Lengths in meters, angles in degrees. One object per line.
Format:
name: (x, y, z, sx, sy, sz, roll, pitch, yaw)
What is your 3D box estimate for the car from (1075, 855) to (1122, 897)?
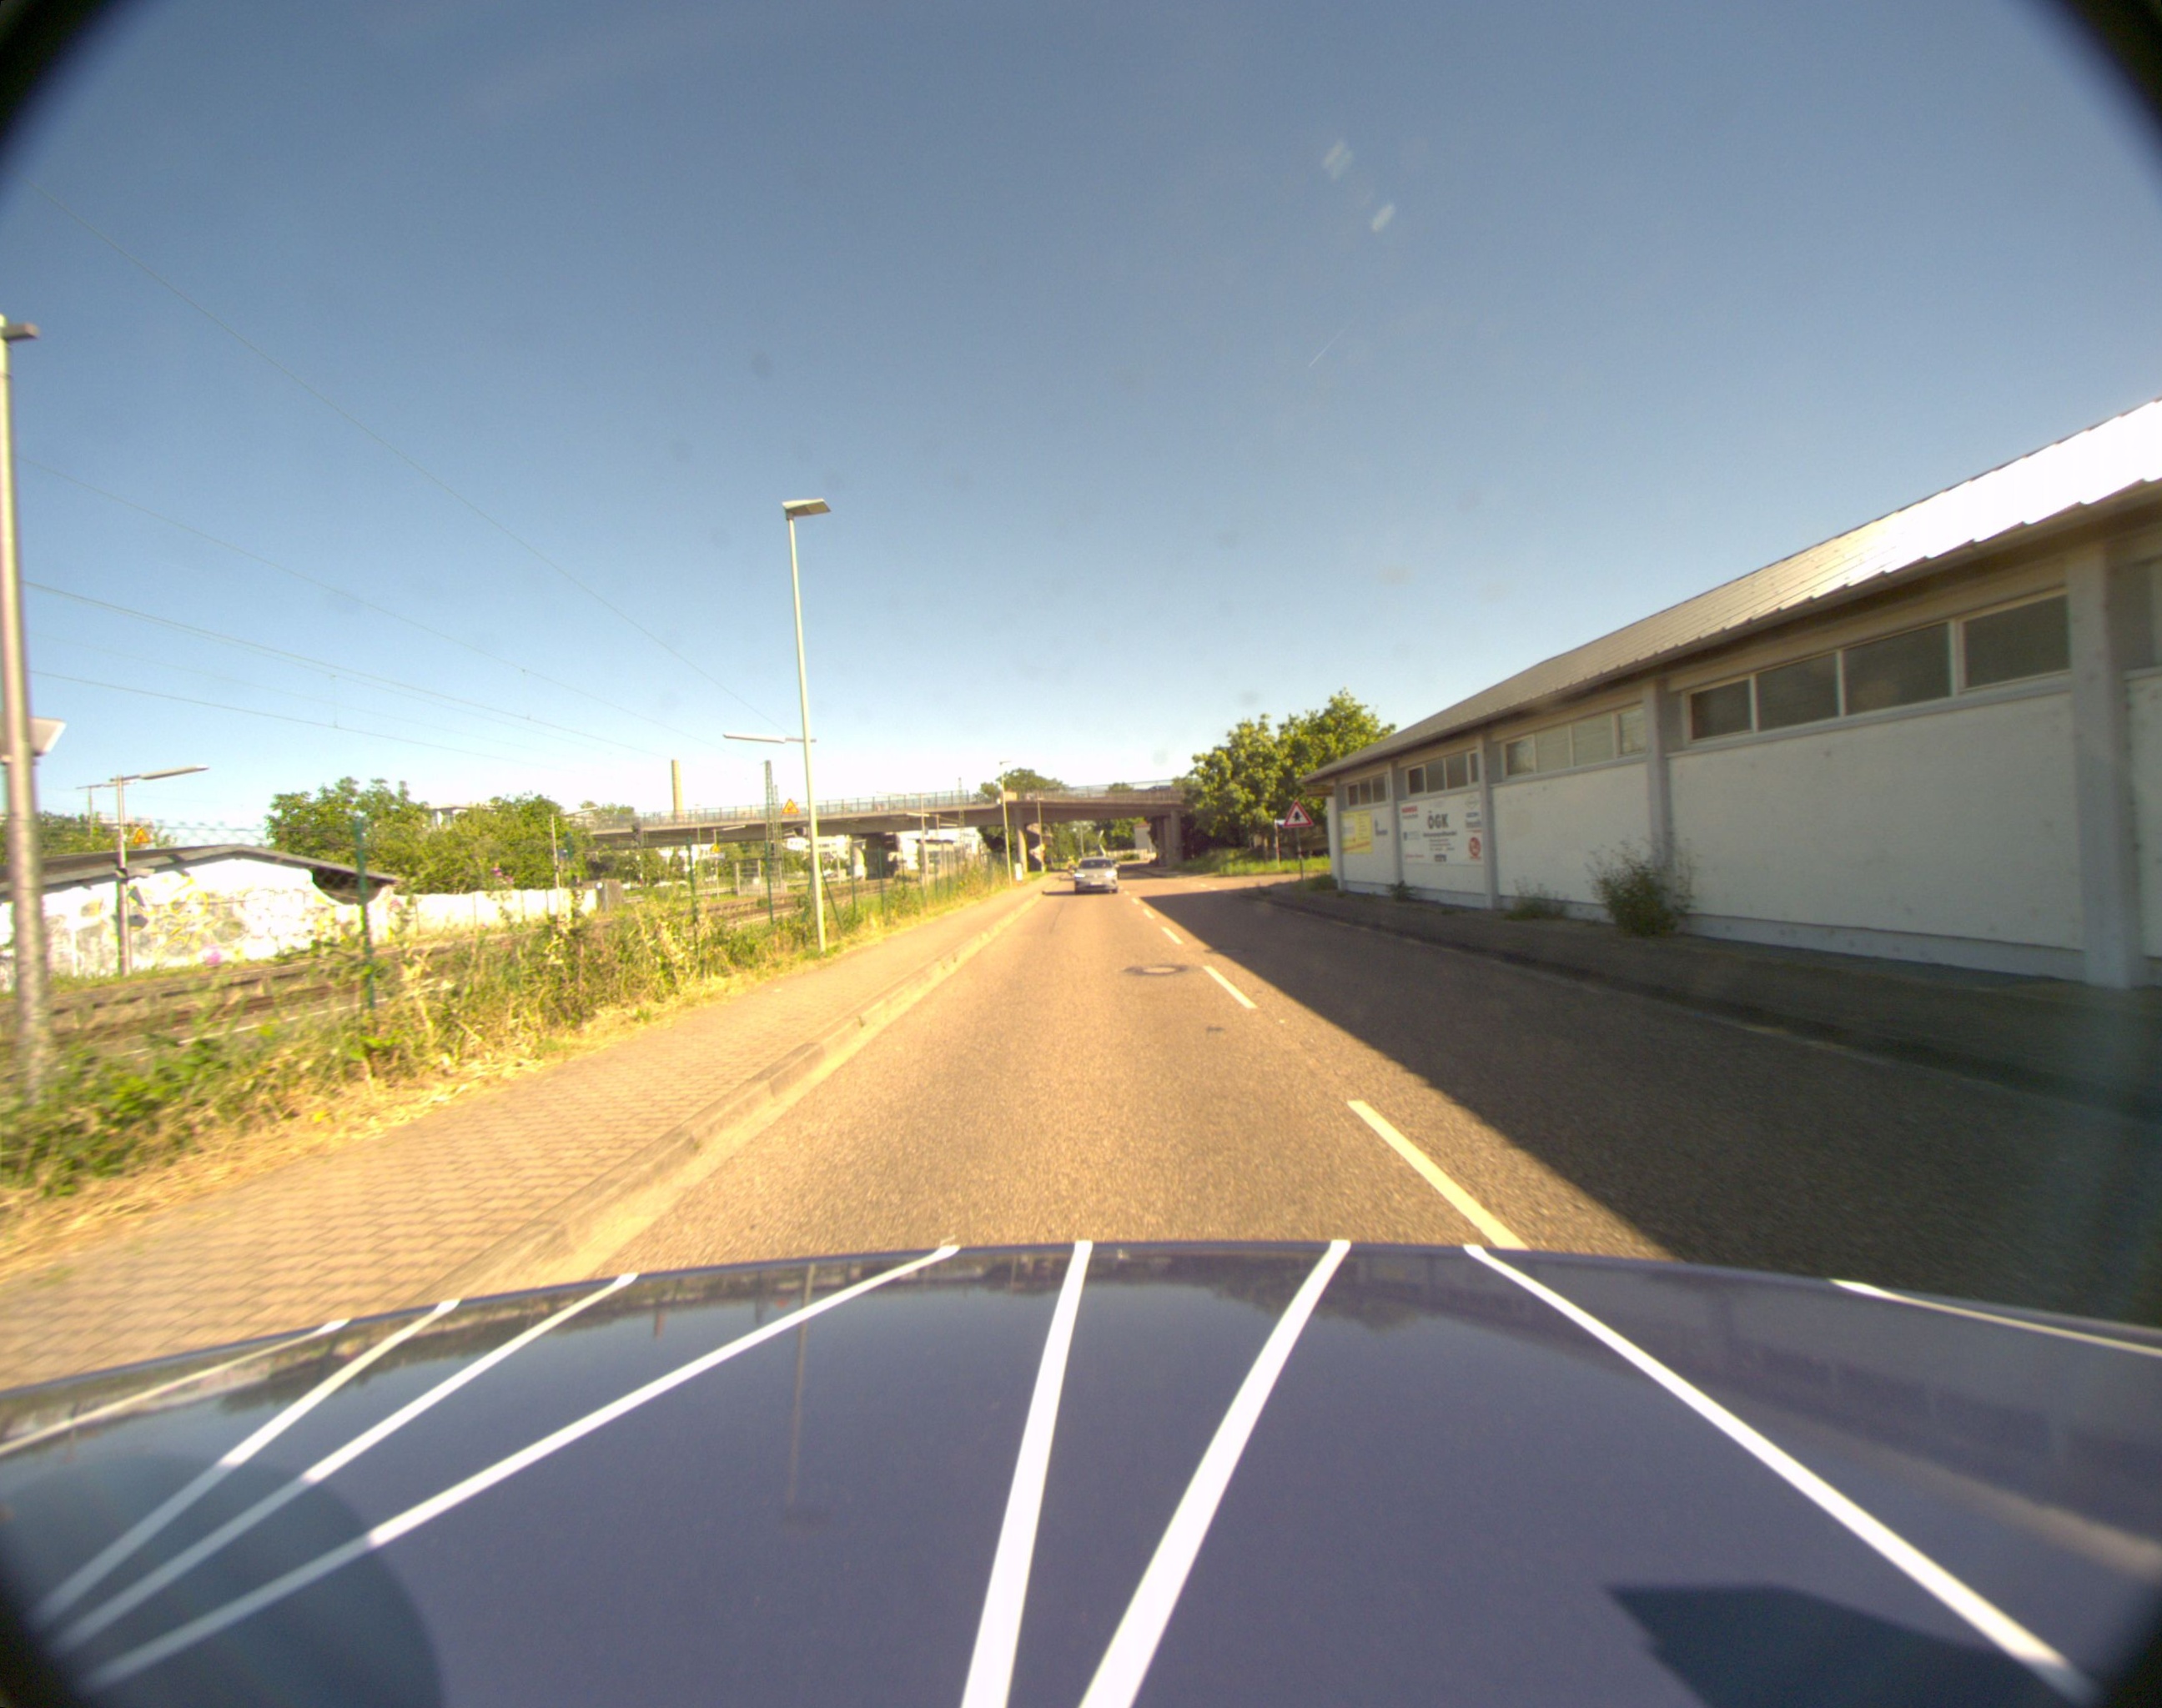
car: (0.704, 0.898, 32.723, 1.850, 1.621, 4.295, -2, 0, 0)

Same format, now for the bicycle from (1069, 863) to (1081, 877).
bicycle: (-0.516, 1.337, 64.449, 0.843, 1.045, 2.189, -3, 0, -2)

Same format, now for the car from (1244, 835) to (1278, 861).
car: (20.064, -0.707, 84.387, 1.942, 2.665, 6.020, -3, -1, 30)

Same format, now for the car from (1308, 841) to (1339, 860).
car: (21.936, -0.325, 68.673, 1.679, 1.543, 4.306, -3, 0, 31)

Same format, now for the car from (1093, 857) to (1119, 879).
car: (1.984, 1.079, 60.910, 1.850, 1.621, 4.295, -3, 0, 0)

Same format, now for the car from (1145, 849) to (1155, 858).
car: (14.710, -0.177, 162.638, 1.998, 1.767, 4.367, -3, 0, 6)

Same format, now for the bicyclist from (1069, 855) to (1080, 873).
bicyclist: (-0.533, 0.866, 64.457, 0.843, 1.480, 0.923, -3, 0, -2)

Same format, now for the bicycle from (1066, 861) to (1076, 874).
bicycle: (-0.893, 1.181, 67.740, 0.843, 1.045, 2.189, -3, 0, -1)

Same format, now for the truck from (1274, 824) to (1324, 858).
truck: (24.336, -1.506, 84.536, 2.476, 3.530, 7.982, -3, 0, 36)

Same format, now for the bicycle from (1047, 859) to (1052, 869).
bicycle: (-4.084, 1.267, 98.246, 0.599, 1.175, 2.180, -3, 0, -5)

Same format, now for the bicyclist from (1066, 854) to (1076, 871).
bicyclist: (-0.919, 0.786, 67.825, 0.843, 1.480, 0.923, -3, 0, -1)
